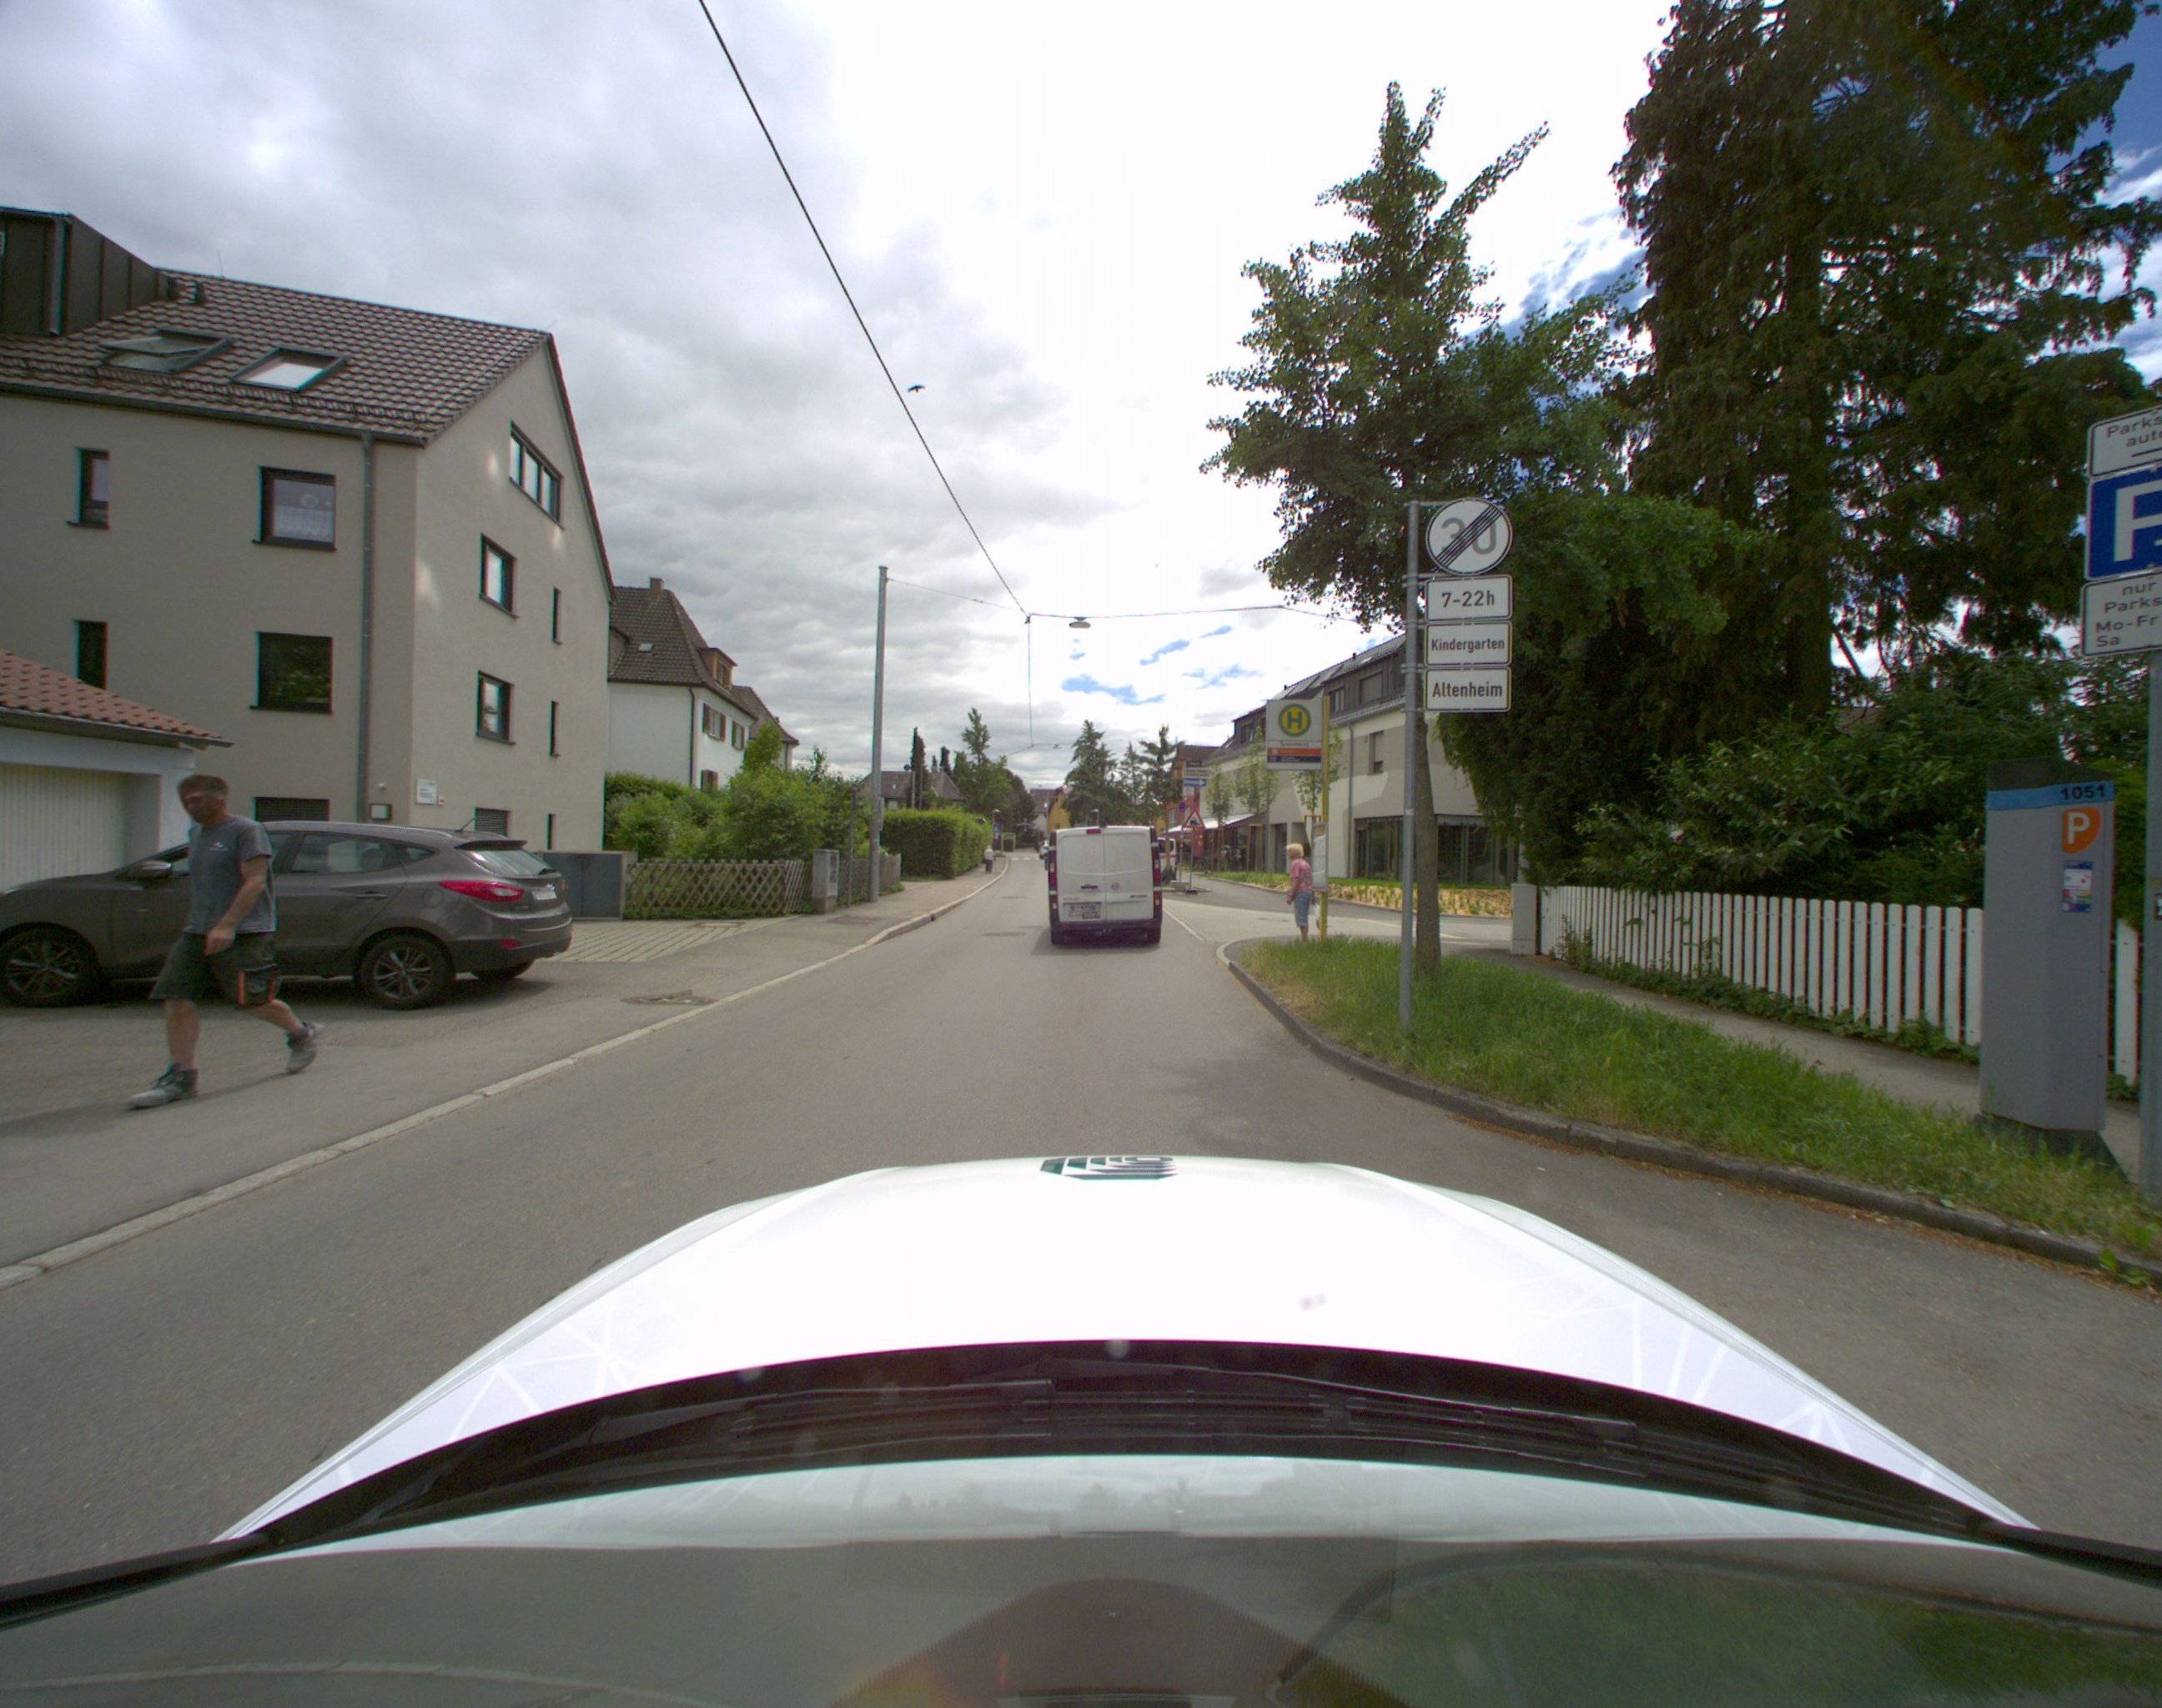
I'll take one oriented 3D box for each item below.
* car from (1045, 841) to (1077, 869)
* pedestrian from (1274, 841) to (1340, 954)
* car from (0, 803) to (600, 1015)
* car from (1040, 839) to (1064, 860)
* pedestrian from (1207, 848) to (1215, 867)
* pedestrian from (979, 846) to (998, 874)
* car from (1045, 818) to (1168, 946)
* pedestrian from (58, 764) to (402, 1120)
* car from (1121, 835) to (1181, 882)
[{"bbox_3d":[-1.399,0.069,55.050,1.989,1.848,3.995,0,0,-3],"label":"car"},{"bbox_3d":[3.499,0.653,12.689,0.875,1.645,0.860,3,0,13],"label":"pedestrian"},{"bbox_3d":[-7.512,0.515,8.022,4.311,1.695,1.792,3,0,-10],"label":"car"},{"bbox_3d":[-2.584,-0.376,71.602,1.989,1.782,3.995,0,0,-3],"label":"car"},{"bbox_3d":[8.378,0.217,52.315,0.420,1.182,0.323,1,0,-6],"label":"pedestrian"},{"bbox_3d":[-4.981,0.326,43.947,0.880,1.485,0.452,3,-1,-23],"label":"pedestrian"},{"bbox_3d":[0.308,0.455,14.981,1.911,2.003,4.433,0,0,-3],"label":"car"},{"bbox_3d":[-5.255,0.487,5.148,0.729,1.946,1.219,3,0,5],"label":"pedestrian"},{"bbox_3d":[3.133,0.198,37.402,1.954,1.916,4.894,3,0,-4],"label":"car"}]
